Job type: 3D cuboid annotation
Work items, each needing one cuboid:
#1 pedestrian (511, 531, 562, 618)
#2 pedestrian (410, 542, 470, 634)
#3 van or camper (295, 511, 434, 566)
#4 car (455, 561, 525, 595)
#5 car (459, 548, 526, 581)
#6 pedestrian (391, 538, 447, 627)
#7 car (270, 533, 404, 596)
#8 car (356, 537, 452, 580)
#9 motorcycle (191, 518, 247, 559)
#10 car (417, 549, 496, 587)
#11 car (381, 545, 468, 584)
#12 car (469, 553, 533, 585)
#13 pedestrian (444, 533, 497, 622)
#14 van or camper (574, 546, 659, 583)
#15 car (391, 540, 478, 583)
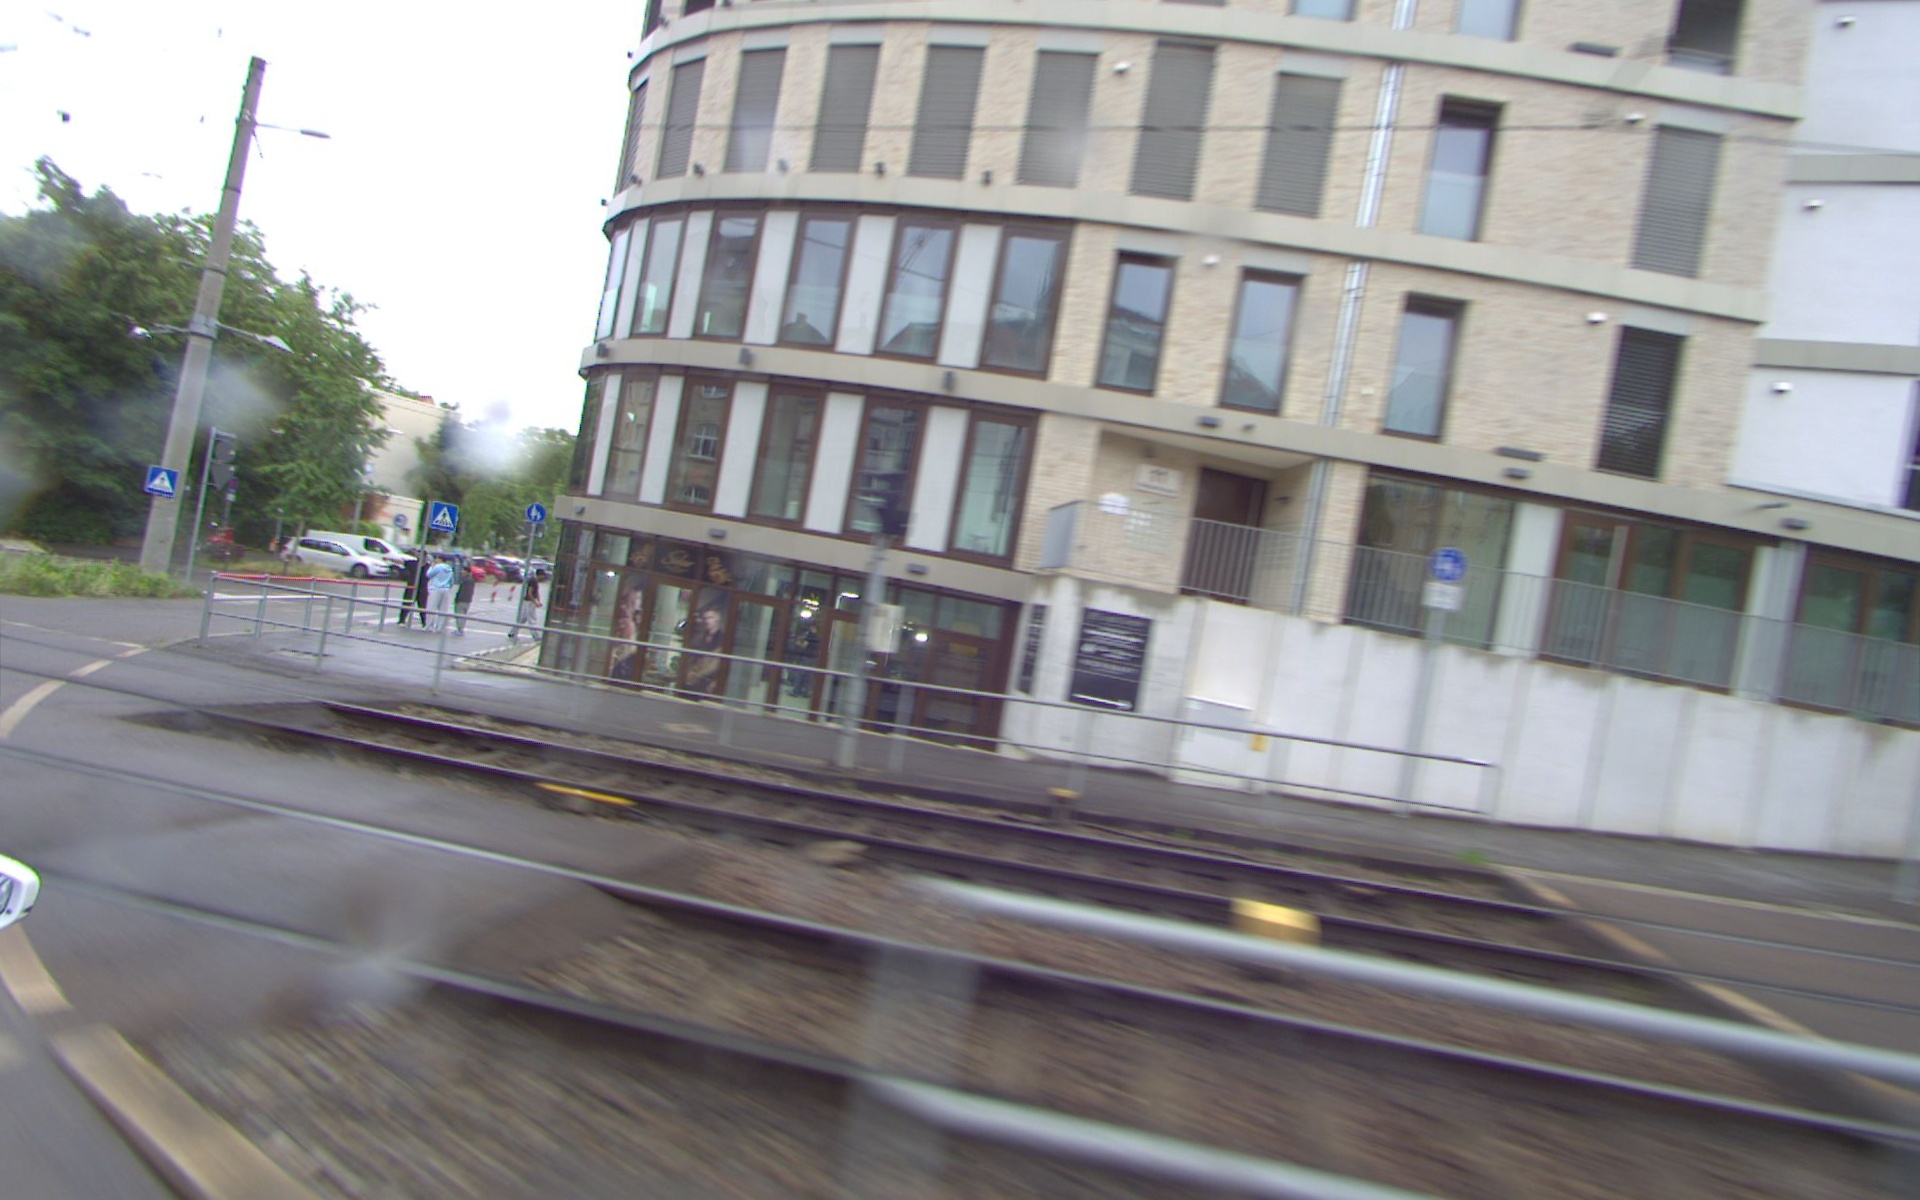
[{"bbox_3d":[-10.476,-0.637,24.871,0.877,2.040,0.591,8,2,32],"label":"pedestrian"},{"bbox_3d":[-12.217,-0.274,23.651,0.875,2.039,0.657,7,1,24],"label":"pedestrian"},{"bbox_3d":[-27.851,-2.835,47.212,5.093,1.857,1.997,6,0,-10],"label":"van or camper"},{"bbox_3d":[-32.686,-1.527,70.046,3.936,1.793,1.843,9,0,-12],"label":"car"},{"bbox_3d":[-34.053,-2.561,73.325,3.936,1.793,1.843,9,0,-12],"label":"car"},{"bbox_3d":[-13.117,-0.411,24.394,0.772,2.039,0.684,7,1,24],"label":"pedestrian"},{"bbox_3d":[-27.457,-1.528,44.524,4.441,2.036,1.995,8,-2,-15],"label":"car"},{"bbox_3d":[-28.393,-2.076,51.487,3.841,1.705,1.734,6,0,-13],"label":"car"},{"bbox_3d":[-30.815,-2.518,41.900,0.813,1.389,2.423,12,-3,-15],"label":"motorcycle"},{"bbox_3d":[-32.066,-2.021,64.165,3.936,1.793,1.843,9,0,-12],"label":"car"},{"bbox_3d":[-29.862,-1.968,56.172,3.841,1.705,1.734,6,0,-13],"label":"car"},{"bbox_3d":[-34.889,-2.358,76.573,3.936,1.793,1.843,9,0,-12],"label":"car"},{"bbox_3d":[-11.800,-0.543,24.264,0.877,2.039,0.592,7,1,32],"label":"pedestrian"},{"bbox_3d":[-27.061,-2.791,79.410,5.895,2.038,1.980,8,0,-37],"label":"van or camper"},{"bbox_3d":[-30.291,-2.193,58.089,3.936,1.793,1.843,9,0,-12],"label":"car"}]
